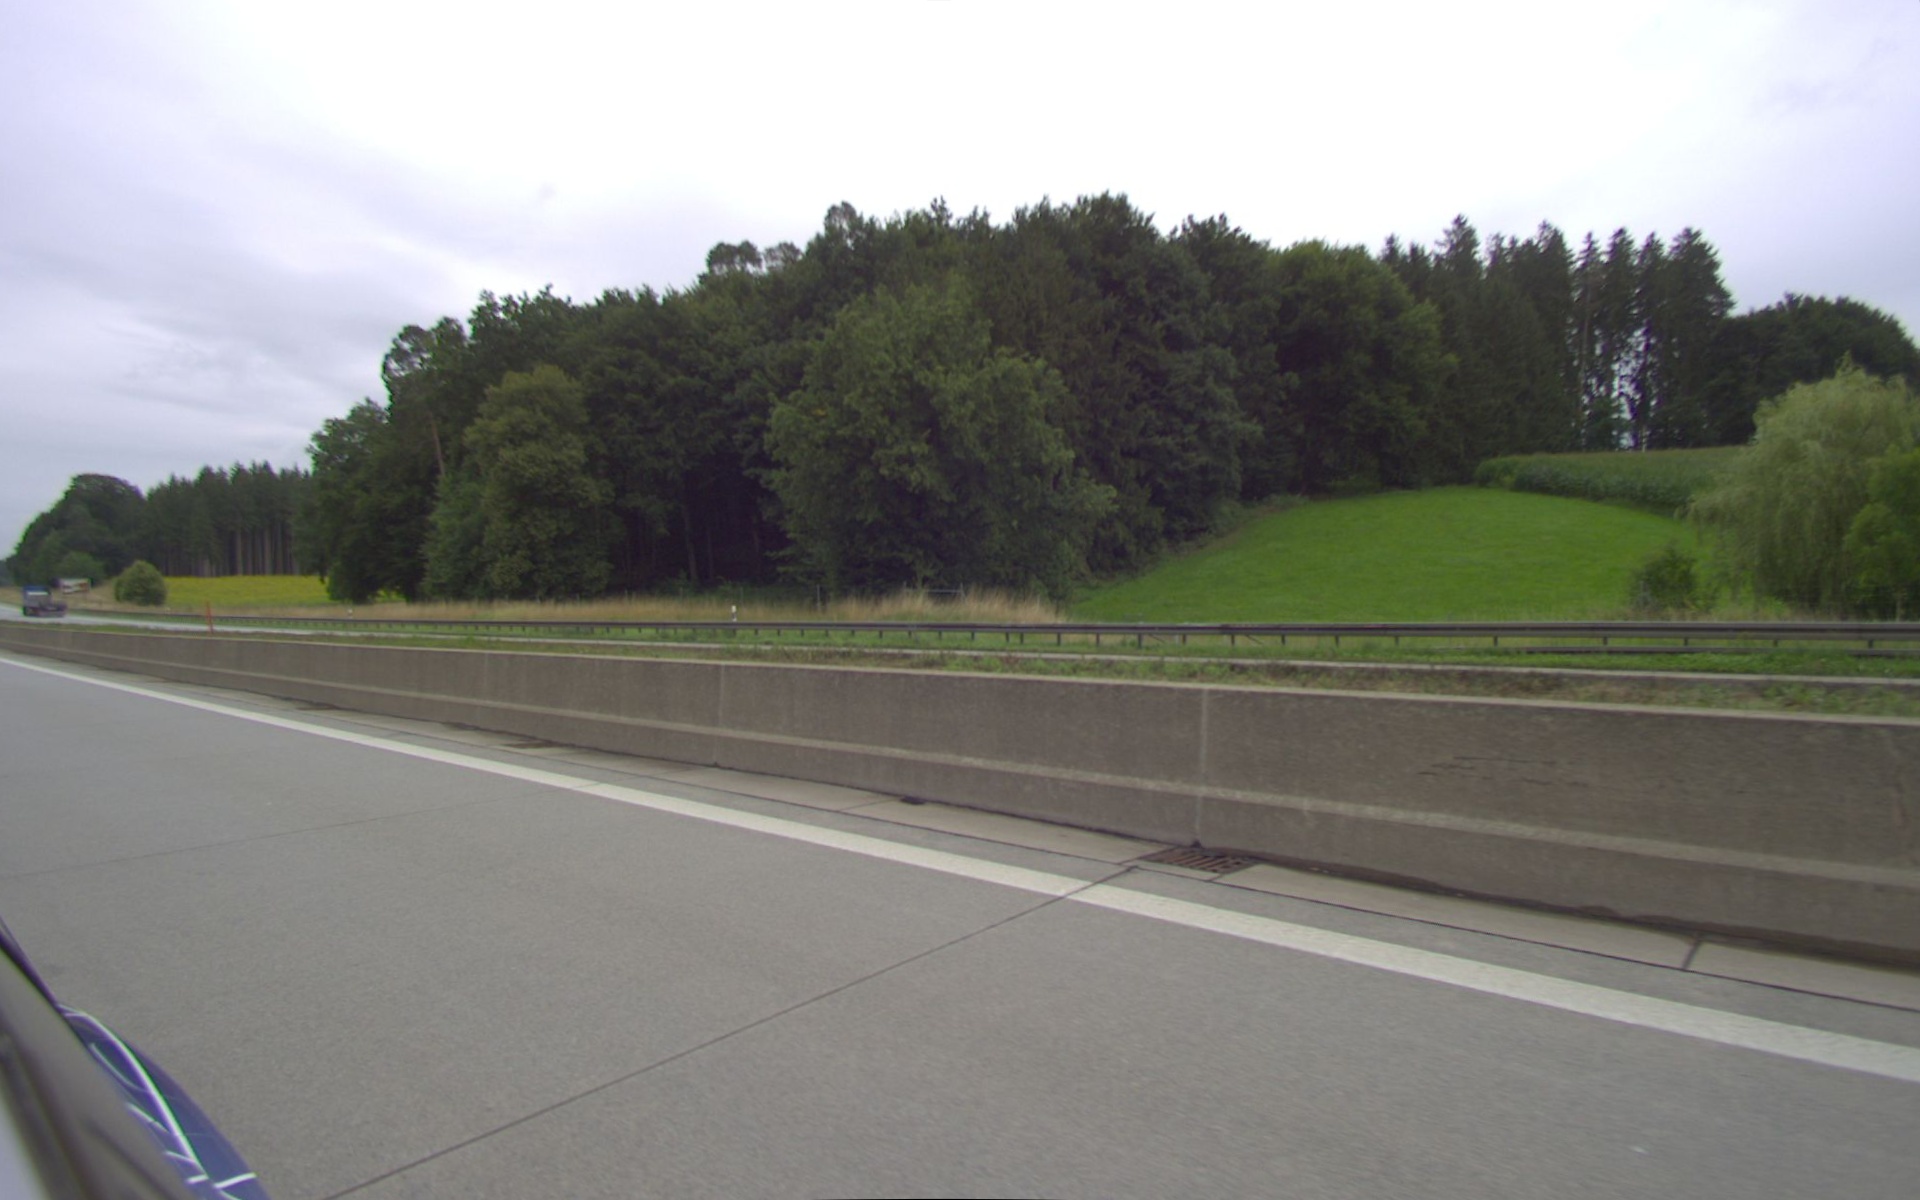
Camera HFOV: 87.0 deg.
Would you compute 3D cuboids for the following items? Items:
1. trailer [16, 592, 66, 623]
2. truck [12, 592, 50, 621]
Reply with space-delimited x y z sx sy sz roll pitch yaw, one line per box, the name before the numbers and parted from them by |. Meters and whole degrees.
trailer | -109.805 0.851 120.822 13.879 3.534 2.756 0 1 41
truck | -115.343 0.800 125.681 6.637 3.543 2.728 0 1 41
